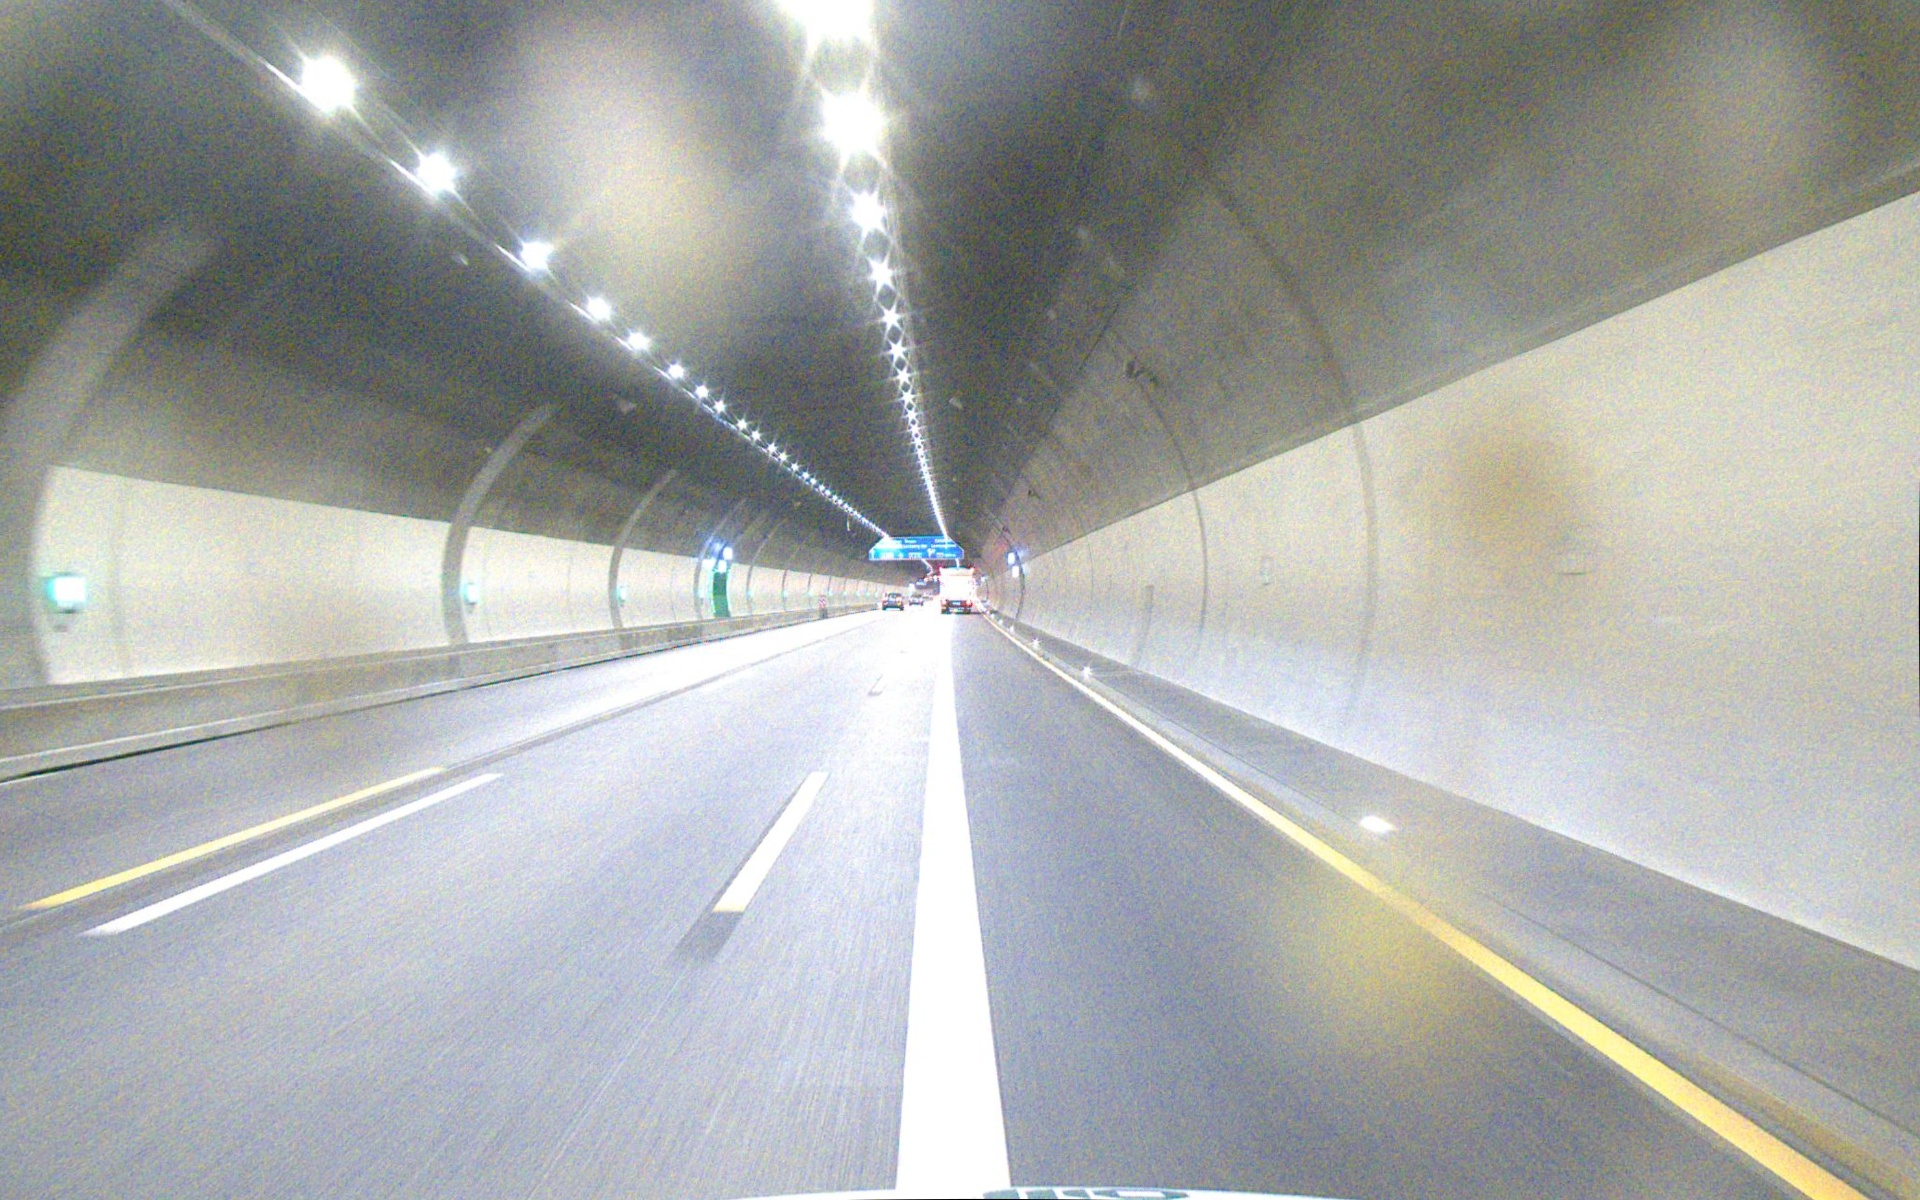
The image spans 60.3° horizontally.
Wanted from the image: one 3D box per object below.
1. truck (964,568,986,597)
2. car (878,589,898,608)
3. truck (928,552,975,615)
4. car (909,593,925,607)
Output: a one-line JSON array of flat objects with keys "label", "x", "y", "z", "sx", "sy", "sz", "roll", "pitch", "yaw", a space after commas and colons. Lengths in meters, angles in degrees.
[{"label": "truck", "x": 2.198, "y": -2.656, "z": 249.642, "sx": 2.863, "sy": 4.118, "sz": 14.025, "roll": -1, "pitch": 0, "yaw": -1}, {"label": "car", "x": -6.298, "y": -0.143, "z": 145.278, "sx": 1.776, "sy": 1.646, "sz": 3.998, "roll": 0, "pitch": 1, "yaw": -2}, {"label": "truck", "x": -0.801, "y": -1.329, "z": 134.161, "sx": 3.212, "sy": 4.731, "sz": 17.280, "roll": -1, "pitch": 0, "yaw": -2}, {"label": "car", "x": -5.222, "y": 0.012, "z": 201.169, "sx": 1.777, "sy": 1.546, "sz": 3.998, "roll": 0, "pitch": 2, "yaw": -4}]
